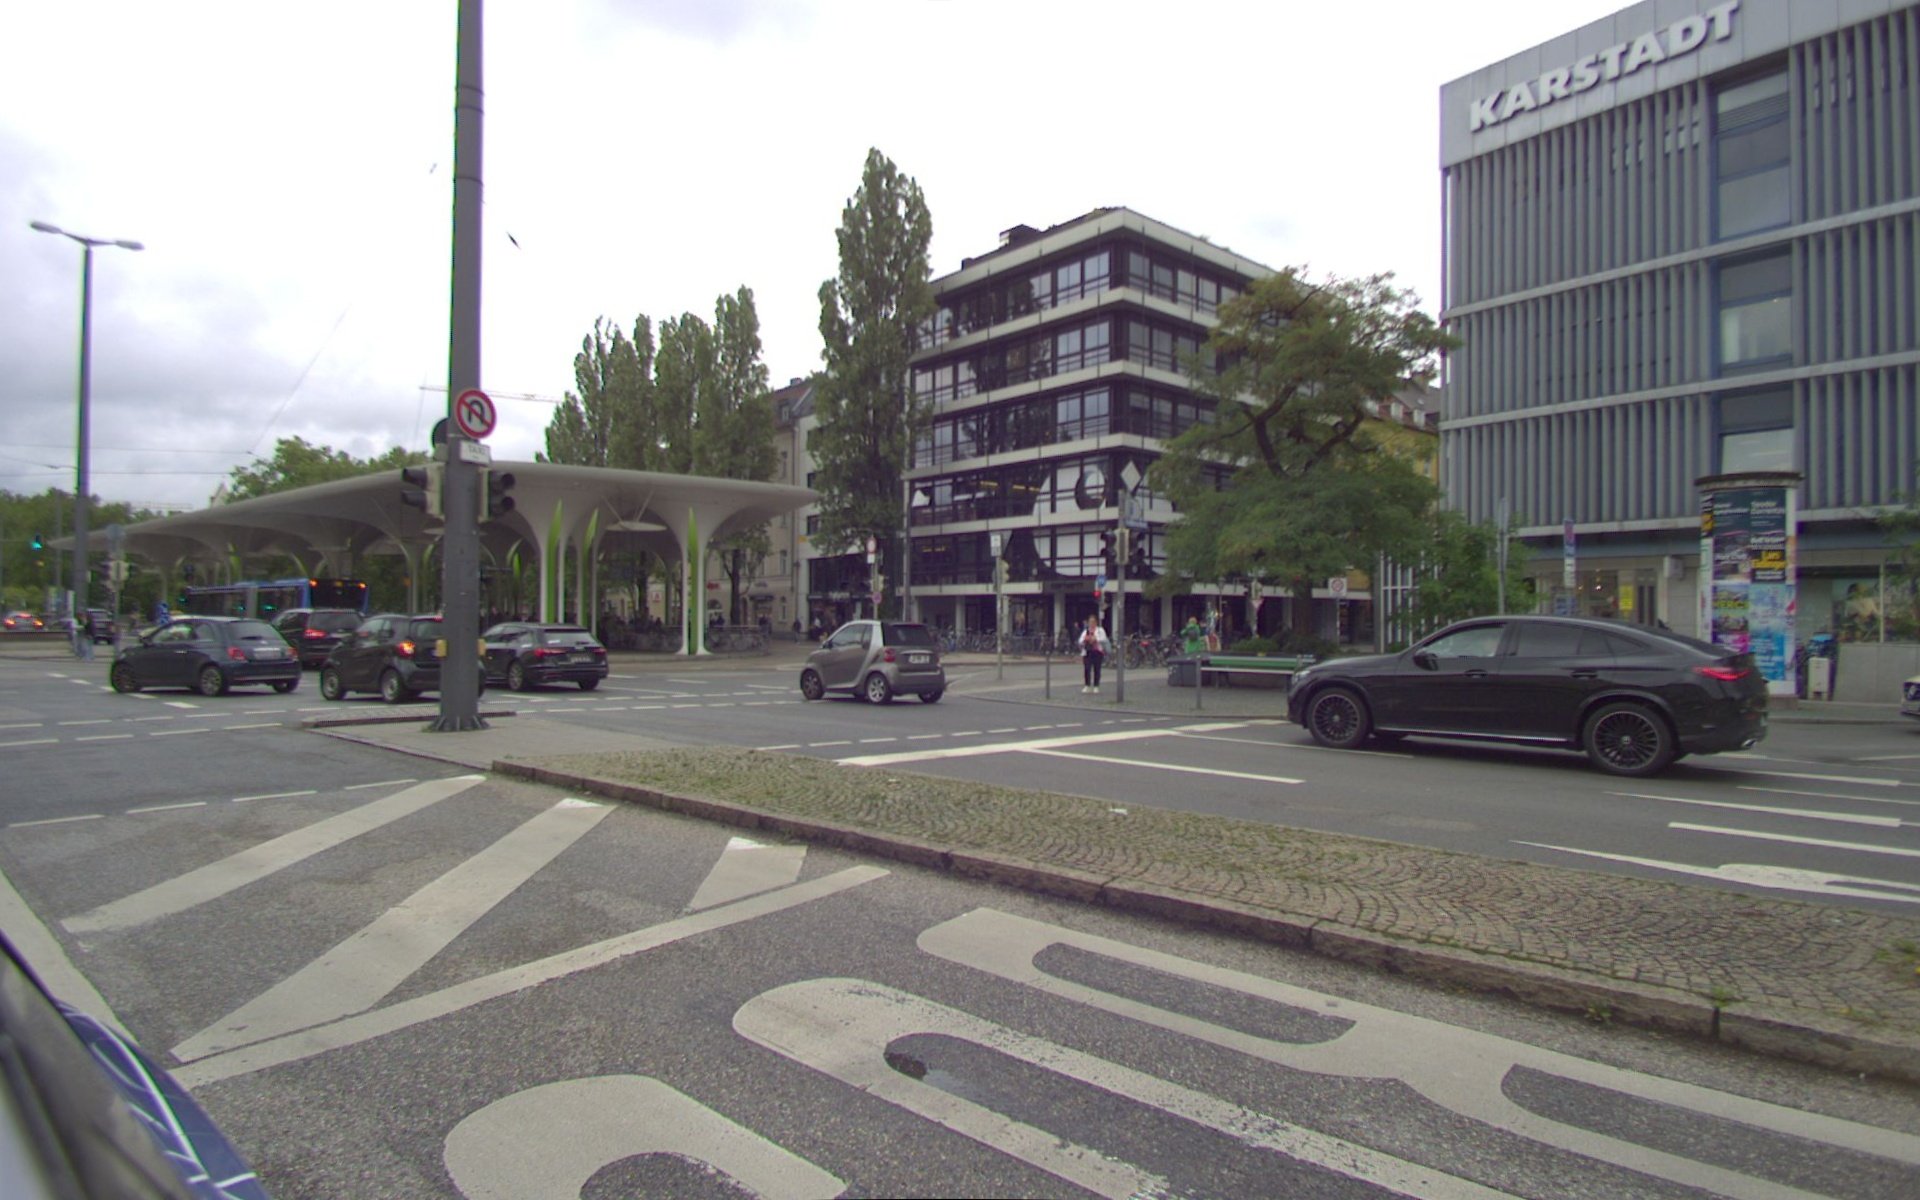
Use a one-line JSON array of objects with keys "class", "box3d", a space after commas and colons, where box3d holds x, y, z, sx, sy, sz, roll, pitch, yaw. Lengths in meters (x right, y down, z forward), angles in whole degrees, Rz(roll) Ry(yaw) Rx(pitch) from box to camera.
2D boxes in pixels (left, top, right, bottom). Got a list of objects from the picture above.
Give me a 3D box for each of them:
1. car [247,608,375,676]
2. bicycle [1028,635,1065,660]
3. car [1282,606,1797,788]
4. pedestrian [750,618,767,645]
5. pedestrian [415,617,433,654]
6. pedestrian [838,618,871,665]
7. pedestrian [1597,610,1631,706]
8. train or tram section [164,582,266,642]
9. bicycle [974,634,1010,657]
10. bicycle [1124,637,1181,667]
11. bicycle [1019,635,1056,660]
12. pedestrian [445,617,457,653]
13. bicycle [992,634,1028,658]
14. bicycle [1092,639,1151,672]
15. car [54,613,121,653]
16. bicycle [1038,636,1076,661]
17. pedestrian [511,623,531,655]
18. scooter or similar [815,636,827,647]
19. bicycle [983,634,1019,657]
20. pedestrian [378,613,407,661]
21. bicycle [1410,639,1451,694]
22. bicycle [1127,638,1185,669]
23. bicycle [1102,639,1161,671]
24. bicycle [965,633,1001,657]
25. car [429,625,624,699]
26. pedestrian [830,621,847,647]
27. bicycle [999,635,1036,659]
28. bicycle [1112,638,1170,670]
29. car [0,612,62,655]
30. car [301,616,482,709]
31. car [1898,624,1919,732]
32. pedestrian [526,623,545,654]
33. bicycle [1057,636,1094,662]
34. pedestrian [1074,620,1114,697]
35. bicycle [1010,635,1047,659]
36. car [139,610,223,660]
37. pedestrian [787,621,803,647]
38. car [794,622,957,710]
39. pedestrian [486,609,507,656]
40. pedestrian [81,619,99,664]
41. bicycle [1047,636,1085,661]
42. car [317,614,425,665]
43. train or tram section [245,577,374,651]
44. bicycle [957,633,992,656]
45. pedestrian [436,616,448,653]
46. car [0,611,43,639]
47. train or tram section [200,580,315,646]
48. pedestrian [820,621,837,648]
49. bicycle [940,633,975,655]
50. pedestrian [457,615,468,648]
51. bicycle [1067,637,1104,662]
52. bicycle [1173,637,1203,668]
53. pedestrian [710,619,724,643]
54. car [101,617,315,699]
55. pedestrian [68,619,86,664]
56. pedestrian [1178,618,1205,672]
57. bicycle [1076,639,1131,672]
[{"class": "car", "box3d": [-18.789, 1.173, 29.244, 4.305, 1.785, 1.972, 0, -3, 41]}, {"class": "bicycle", "box3d": [4.148, 2.268, 48.160, 2.044, 1.142, 0.561, 2, -2, -44]}, {"class": "car", "box3d": [6.189, 0.903, 11.198, 4.617, 1.589, 1.971, -1, -2, 44]}, {"class": "pedestrian", "box3d": [-13.438, 2.115, 67.512, 0.940, 1.786, 0.983, 0, -2, 0]}, {"class": "pedestrian", "box3d": [-22.207, 1.455, 41.952, 0.421, 1.514, 0.488, 0, -2, 6]}, {"class": "pedestrian", "box3d": [-4.066, 1.576, 38.956, 0.980, 1.791, 0.850, -1, -2, 41]}, {"class": "pedestrian", "box3d": [11.858, 1.037, 18.343, 0.459, 1.712, 0.426, 0, 0, 40]}, {"class": "train or tram section", "box3d": [-40.279, 0.696, 54.622, 7.402, 3.024, 2.804, -1, -2, 40]}, {"class": "bicycle", "box3d": [1.603, 2.272, 51.001, 2.044, 1.142, 0.561, 2, -2, -44]}, {"class": "bicycle", "box3d": [6.578, 1.768, 34.690, 1.925, 1.006, 0.503, -1, -2, 42]}, {"class": "bicycle", "box3d": [3.723, 2.269, 48.588, 2.044, 1.142, 0.561, 2, -2, -44]}, {"class": "pedestrian", "box3d": [-21.364, 1.463, 42.465, 0.316, 1.514, 0.331, -1, -2, 31]}, {"class": "bicycle", "box3d": [2.492, 2.270, 50.069, 2.044, 1.142, 0.561, 2, -2, -44]}, {"class": "bicycle", "box3d": [5.208, 1.788, 32.663, 1.925, 1.006, 0.503, -1, -2, 42]}, {"class": "car", "box3d": [-40.387, 1.480, 46.821, 3.998, 1.696, 1.824, 0, 0, 41]}, {"class": "bicycle", "box3d": [4.583, 2.267, 47.722, 2.044, 1.142, 0.561, 2, -2, -44]}, {"class": "pedestrian", "box3d": [-18.753, 1.660, 43.246, 0.591, 1.348, 0.542, -1, -2, 40]}, {"class": "scooter or similar", "box3d": [-9.299, 2.802, 67.739, 0.511, 0.720, 0.681, 1, -2, -39]}, {"class": "bicycle", "box3d": [2.076, 2.271, 50.525, 2.044, 1.142, 0.561, 2, -2, -44]}, {"class": "pedestrian", "box3d": [-21.141, 1.372, 37.692, 0.787, 1.762, 0.702, -1, -2, 40]}, {"class": "bicycle", "box3d": [9.112, 1.273, 19.572, 0.419, 1.024, 1.282, -1, -2, 38]}, {"class": "bicycle", "box3d": [6.523, 1.773, 33.804, 1.925, 1.006, 0.503, -1, -2, 42]}, {"class": "bicycle", "box3d": [5.591, 1.784, 33.068, 1.925, 1.006, 0.503, -1, -2, 42]}, {"class": "bicycle", "box3d": [1.189, 2.272, 51.414, 2.044, 1.142, 0.561, 2, -2, -44]}, {"class": "car", "box3d": [-9.532, 1.271, 22.097, 4.610, 1.427, 1.974, -1, -2, 39]}, {"class": "pedestrian", "box3d": [-8.145, 2.281, 67.908, 0.788, 1.737, 0.828, 1, -2, -38]}, {"class": "bicycle", "box3d": [2.832, 2.270, 49.556, 2.044, 1.142, 0.561, 2, -2, -44]}, {"class": "bicycle", "box3d": [5.978, 1.778, 33.561, 1.925, 1.006, 0.503, -1, -2, 42]}, {"class": "car", "box3d": [-35.954, 1.244, 38.718, 3.998, 1.481, 1.898, 0, 0, 41]}, {"class": "car", "box3d": [-10.109, 1.050, 17.997, 2.775, 1.518, 1.547, 0, -1, 28]}, {"class": "car", "box3d": [15.318, 1.067, 13.076, 4.276, 1.522, 1.843, -1, -2, 27]}, {"class": "pedestrian", "box3d": [-18.413, 1.654, 43.897, 0.591, 1.348, 0.542, -1, -2, 40]}, {"class": "bicycle", "box3d": [5.379, 2.266, 46.944, 2.044, 1.142, 0.561, 2, -2, -44]}, {"class": "pedestrian", "box3d": [2.789, 1.195, 21.011, 0.754, 1.563, 0.636, 0, 0, 15]}, {"class": "bicycle", "box3d": [3.345, 2.269, 49.064, 2.044, 1.142, 0.561, 2, -2, -44]}, {"class": "car", "box3d": [-28.768, 1.257, 37.328, 3.998, 1.696, 1.737, 0, 0, 41]}, {"class": "pedestrian", "box3d": [-10.930, 2.231, 67.011, 0.821, 1.712, 0.907, 1, -2, -28]}, {"class": "car", "box3d": [-1.623, 1.182, 19.171, 2.746, 1.527, 1.652, -1, -2, 41]}, {"class": "pedestrian", "box3d": [-18.530, 1.308, 40.474, 0.656, 1.865, 0.790, 1, -2, -30]}, {"class": "pedestrian", "box3d": [-27.793, 1.320, 32.316, 0.380, 1.430, 0.352, -1, -2, 40]}, {"class": "bicycle", "box3d": [4.974, 2.267, 47.350, 2.044, 1.142, 0.561, 2, -2, -44]}, {"class": "car", "box3d": [-19.706, 1.277, 33.782, 3.998, 1.597, 1.907, -1, -2, 41]}, {"class": "train or tram section", "box3d": [-28.990, 0.659, 44.974, 7.402, 3.024, 2.804, -1, -2, 40]}, {"class": "bicycle", "box3d": [0.754, 2.273, 51.837, 2.044, 1.142, 0.561, 2, -2, -44]}, {"class": "pedestrian", "box3d": [-21.620, 1.427, 42.232, 0.316, 1.514, 0.317, -1, -2, 31]}, {"class": "car", "box3d": [-55.968, 1.473, 60.058, 3.997, 1.549, 1.824, 0, 0, 41]}, {"class": "train or tram section", "box3d": [-34.639, 0.679, 49.799, 7.402, 3.024, 2.804, -1, -2, 40]}, {"class": "pedestrian", "box3d": [-8.756, 2.292, 67.212, 0.788, 1.737, 0.828, 1, -2, -38]}, {"class": "bicycle", "box3d": [-0.127, 2.275, 52.702, 2.044, 1.142, 0.561, 2, -2, -44]}, {"class": "pedestrian", "box3d": [-20.970, 1.314, 42.642, 0.257, 1.387, 0.299, -1, -2, 38]}, {"class": "bicycle", "box3d": [5.790, 2.265, 46.565, 2.044, 1.142, 0.561, 2, -2, -44]}, {"class": "bicycle", "box3d": [7.714, 1.762, 34.334, 0.503, 1.006, 1.926, 0, -1, -2]}, {"class": "pedestrian", "box3d": [-16.965, 2.155, 70.749, 0.823, 1.712, 0.905, 0, -2, -5]}, {"class": "car", "box3d": [-14.561, 1.088, 19.650, 3.358, 1.491, 1.620, 0, -2, 16]}, {"class": "pedestrian", "box3d": [-28.235, 1.321, 32.358, 0.380, 1.430, 0.352, -1, -2, 40]}, {"class": "pedestrian", "box3d": [7.586, 1.473, 33.112, 0.647, 1.748, 0.757, -1, -2, 33]}, {"class": "bicycle", "box3d": [4.571, 1.753, 32.374, 1.750, 1.006, 0.503, -1, -2, 42]}]
